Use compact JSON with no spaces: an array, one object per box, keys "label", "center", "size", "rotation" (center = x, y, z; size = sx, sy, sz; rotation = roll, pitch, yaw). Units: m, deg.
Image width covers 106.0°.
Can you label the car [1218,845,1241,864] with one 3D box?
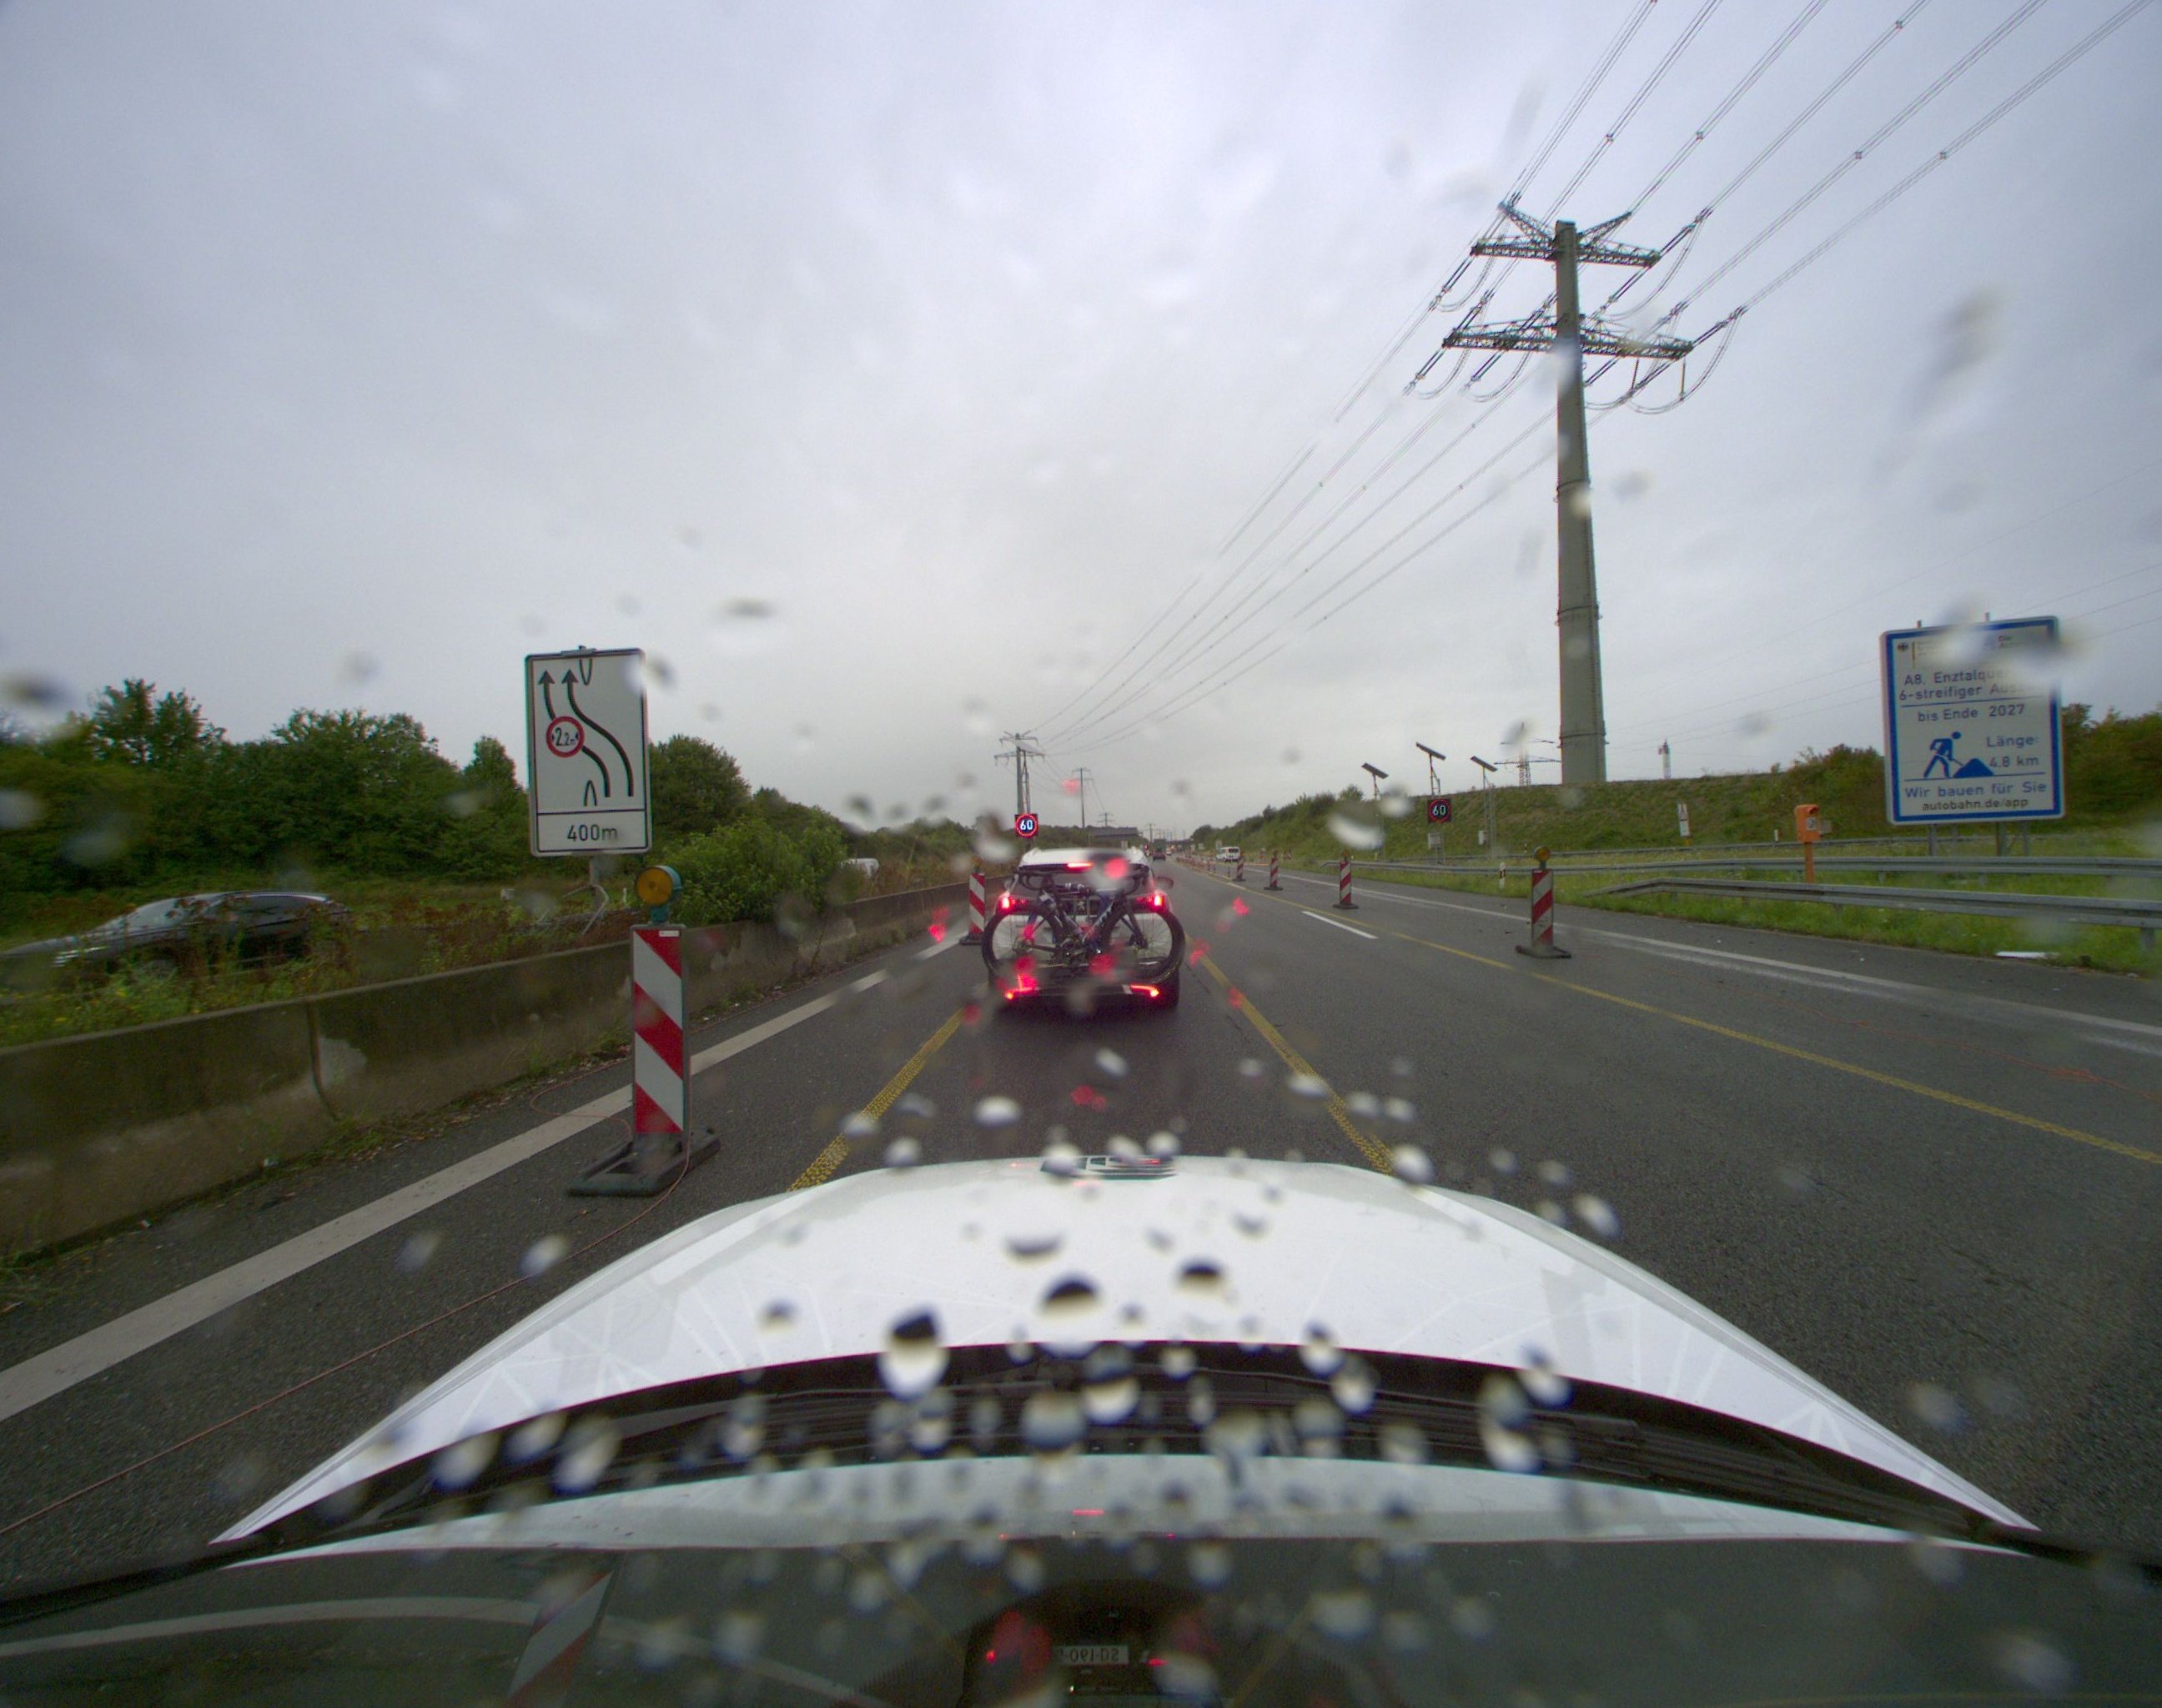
[{"label":"car","center":[16.863,0.074,92.616],"size":[1.986,2.013,4.001],"rotation":[-3,0,1]}]

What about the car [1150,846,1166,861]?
[{"label":"car","center":[11.245,-0.050,119.249],"size":[1.986,2.014,4.001],"rotation":[0,-1,1]}]

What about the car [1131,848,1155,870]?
[{"label":"car","center":[6.084,0.500,80.163],"size":[1.987,2.014,3.999],"rotation":[-3,-2,0]}]

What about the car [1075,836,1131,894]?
[{"label":"car","center":[0.882,0.398,32.041],"size":[1.986,2.013,4.001],"rotation":[-3,0,1]}]

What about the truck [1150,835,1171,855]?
[{"label":"truck","center":[16.568,-2.039,170.770],"size":[3.717,3.821,11.878],"rotation":[0,2,2]}]

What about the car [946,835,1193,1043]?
[{"label":"car","center":[0.060,0.663,8.685],"size":[1.920,1.610,4.600],"rotation":[-1,0,4]}]

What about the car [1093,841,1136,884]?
[{"label":"car","center":[1.635,0.434,40.330],"size":[1.986,2.014,4.001],"rotation":[0,-1,2]}]

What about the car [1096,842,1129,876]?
[{"label":"car","center":[1.934,0.337,50.788],"size":[1.986,2.014,4.001],"rotation":[0,-1,1]}]

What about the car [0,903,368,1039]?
[{"label":"car","center":[-15.579,1.901,14.402],"size":[1.986,1.662,4.298],"rotation":[-2,1,2]}]

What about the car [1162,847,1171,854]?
[{"label":"car","center":[23.732,-1.053,226.466],"size":[1.986,2.013,4.002],"rotation":[-1,0,2]}]

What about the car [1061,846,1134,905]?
[{"label":"car","center":[0.504,0.591,24.549],"size":[1.986,1.584,4.001],"rotation":[-1,0,1]}]

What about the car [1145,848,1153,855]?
[{"label":"car","center":[17.928,-0.571,214.556],"size":[1.986,1.735,3.784],"rotation":[-3,0,2]}]

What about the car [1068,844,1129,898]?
[{"label":"car","center":[0.716,0.564,29.543],"size":[1.985,1.760,4.003],"rotation":[-3,0,3]}]

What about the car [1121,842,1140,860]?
[{"label":"car","center":[5.715,-0.354,93.778],"size":[1.986,2.013,4.002],"rotation":[-3,0,1]}]

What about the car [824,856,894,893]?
[{"label":"car","center":[-10.543,0.929,39.002],"size":[1.861,1.543,4.748],"rotation":[-3,0,1]}]
